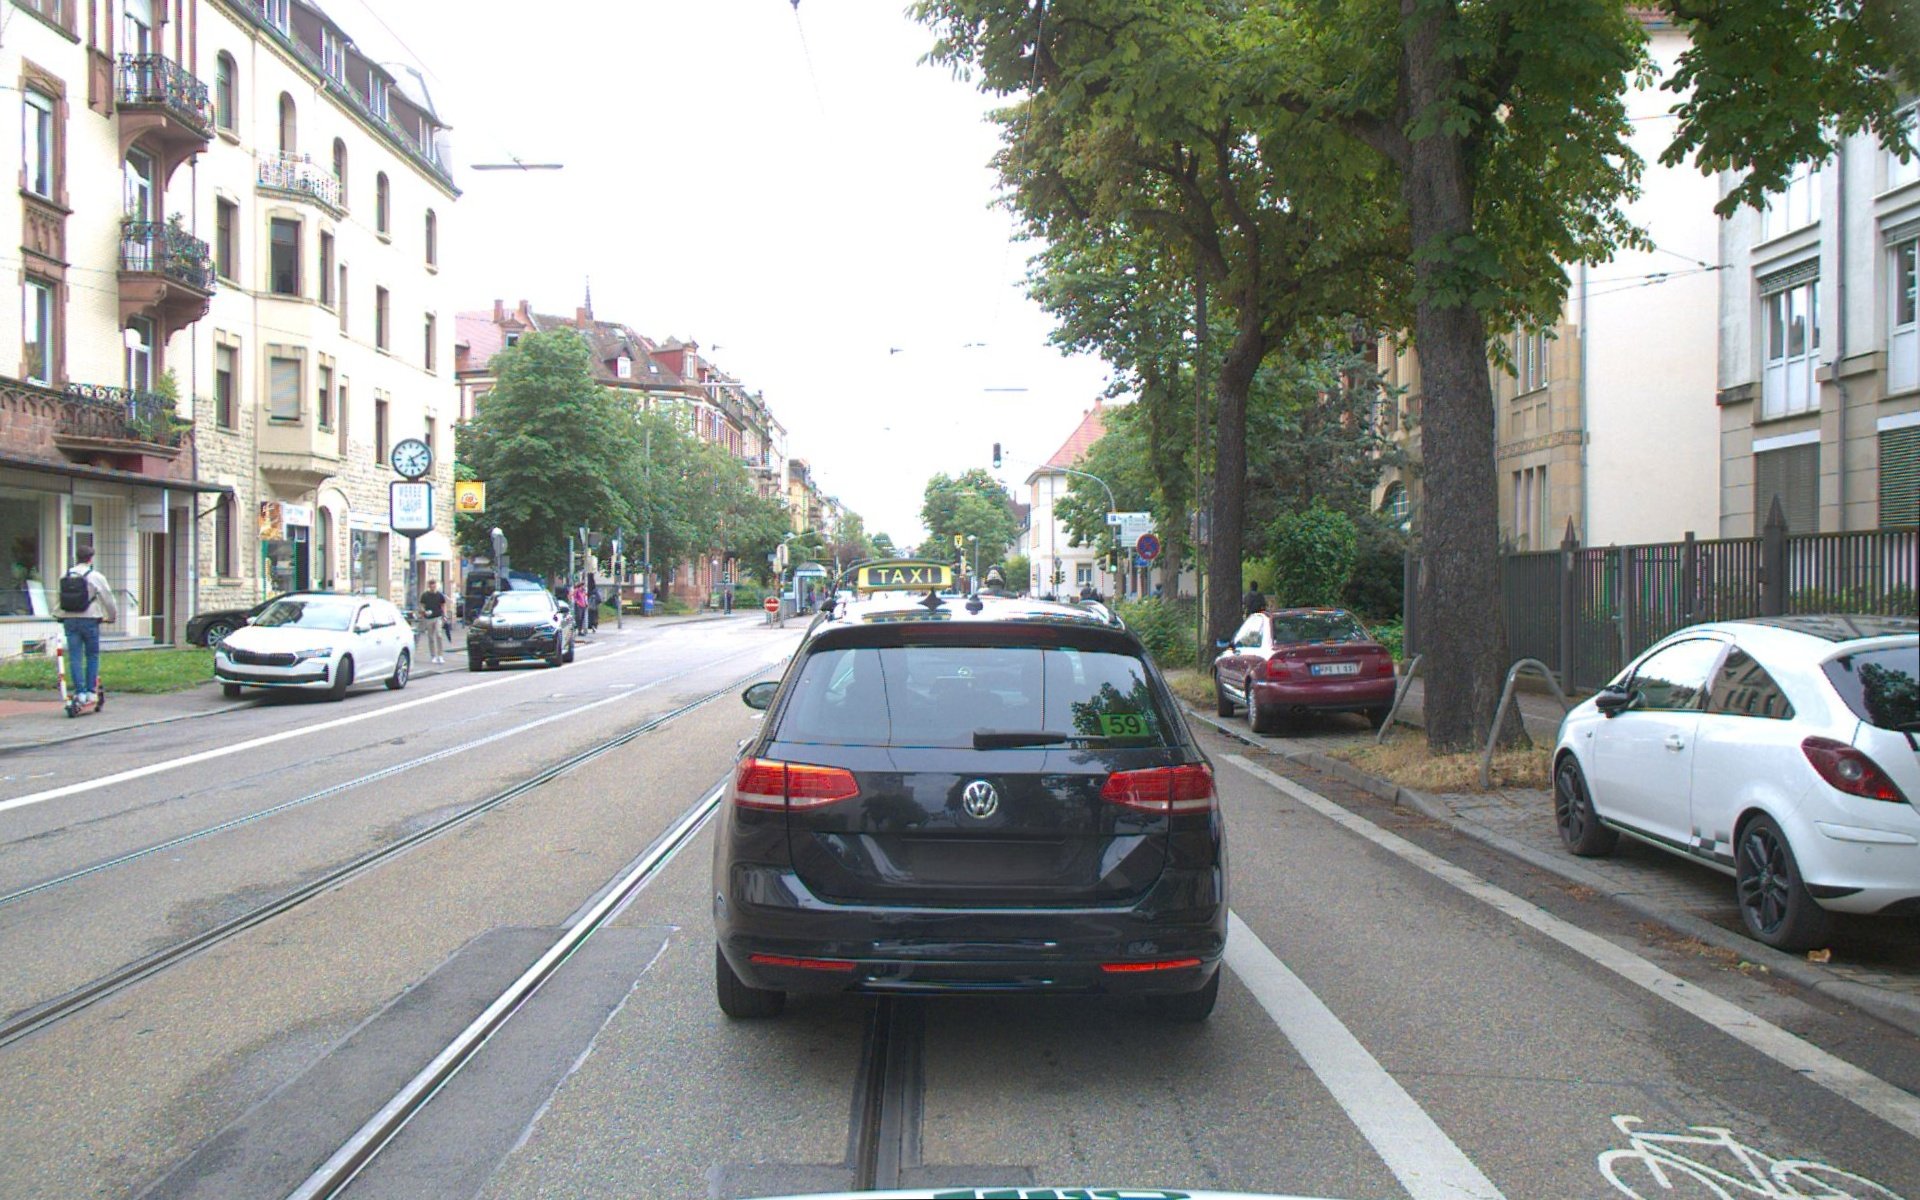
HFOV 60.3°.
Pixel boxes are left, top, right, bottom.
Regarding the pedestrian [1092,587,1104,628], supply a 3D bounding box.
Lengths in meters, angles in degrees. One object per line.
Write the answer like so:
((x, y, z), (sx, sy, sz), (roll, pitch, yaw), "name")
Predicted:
((5.469, 0.288, 65.377), (0.441, 1.589, 0.479), (0, 0, 7), "pedestrian")

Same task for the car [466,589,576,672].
((-9.766, 0.642, 37.092), (1.849, 1.639, 4.876), (-3, 0, -9), "car")

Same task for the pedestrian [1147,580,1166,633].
((7.034, 0.228, 59.272), (0.503, 1.863, 0.418), (-3, 0, 15), "pedestrian")

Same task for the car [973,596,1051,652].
((1.459, 0.614, 44.764), (1.852, 1.432, 4.003), (-1, 0, 5), "car")

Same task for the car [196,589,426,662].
((-14.369, 0.555, 36.832), (4.340, 1.394, 1.878), (2, 0, -6), "car")

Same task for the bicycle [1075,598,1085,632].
((4.577, 0.568, 63.047), (0.291, 1.244, 1.431), (0, 0, 6), "bicycle")

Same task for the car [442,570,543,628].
((-20.689, -0.045, 73.108), (2.168, 2.460, 5.295), (0, 0, -43), "car")

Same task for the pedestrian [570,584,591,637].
((-13.401, 0.374, 58.441), (0.610, 1.875, 0.609), (0, 0, -3), "pedestrian")

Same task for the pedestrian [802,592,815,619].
((-8.697, 0.318, 95.158), (0.699, 1.547, 0.590), (0, 0, 1), "pedestrian")

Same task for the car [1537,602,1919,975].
((4.518, 0.783, 8.746), (1.569, 1.460, 3.776), (-2, 0, 0), "car")

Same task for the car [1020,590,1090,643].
((3.017, 0.518, 53.439), (1.953, 1.605, 3.999), (1, 0, -1), "car")

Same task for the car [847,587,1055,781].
((-0.099, 0.676, 15.525), (1.688, 1.573, 3.999), (0, 0, -1), "car")

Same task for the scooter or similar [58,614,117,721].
((-10.658, 0.811, 20.219), (0.226, 1.256, 0.953), (0, 0, -1), "scooter or similar")

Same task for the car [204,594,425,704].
((-9.797, 0.672, 25.487), (1.712, 1.510, 4.607), (0, 0, -2), "car")

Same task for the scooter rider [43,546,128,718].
((-10.676, 0.381, 20.208), (0.629, 2.049, 0.757), (0, 0, -1), "scooter rider")

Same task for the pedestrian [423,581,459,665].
((-11.822, 0.509, 37.721), (0.656, 1.876, 0.880), (-1, 0, -11), "pedestrian")

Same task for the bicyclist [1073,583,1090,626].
((4.640, 0.170, 63.101), (0.637, 1.596, 0.696), (0, 0, 6), "bicyclist")

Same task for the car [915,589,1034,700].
((0.175, 0.624, 25.562), (1.688, 1.573, 3.999), (0, 0, -1), "car")

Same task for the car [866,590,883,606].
((-8.936, -0.245, 173.570), (1.686, 1.651, 3.862), (-1, 0, -1), "car")

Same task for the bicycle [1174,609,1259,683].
((4.387, 0.777, 28.195), (0.426, 1.219, 1.891), (0, -1, 44), "bicycle")

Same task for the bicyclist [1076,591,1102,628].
((4.658, 0.338, 59.603), (0.641, 1.324, 0.692), (0, 0, 40), "bicyclist")

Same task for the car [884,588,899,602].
((-8.497, -0.652, 204.950), (1.686, 1.651, 3.862), (0, 0, -1), "car")

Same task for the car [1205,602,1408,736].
((4.224, 0.783, 20.796), (1.569, 1.423, 4.226), (-2, 0, -1), "car")

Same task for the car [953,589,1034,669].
((0.672, 0.584, 35.065), (1.574, 1.583, 3.577), (1, 0, -1), "car")

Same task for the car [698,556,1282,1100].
((0.062, 0.651, 6.801), (1.688, 1.573, 3.999), (0, 0, -1), "car")

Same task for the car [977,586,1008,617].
((2.228, 0.112, 114.129), (1.991, 2.049, 3.999), (1, 0, -1), "car")

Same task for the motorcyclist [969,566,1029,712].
((0.463, 0.455, 19.956), (0.688, 1.722, 0.804), (0, 0, -1), "motorcyclist")

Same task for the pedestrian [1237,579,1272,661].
((6.750, 0.452, 37.933), (0.619, 1.846, 0.726), (0, 0, -3), "pedestrian")

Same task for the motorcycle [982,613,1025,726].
((0.506, 0.802, 19.844), (0.437, 1.257, 1.906), (0, 0, -1), "motorcycle")

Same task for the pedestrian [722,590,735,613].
((-15.536, 0.102, 110.965), (0.577, 1.547, 0.647), (0, 0, 34), "pedestrian")

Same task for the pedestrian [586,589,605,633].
((-13.969, 0.417, 63.416), (0.577, 1.692, 0.838), (0, 0, -4), "pedestrian")

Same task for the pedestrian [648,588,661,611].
((-20.249, -0.030, 109.550), (0.577, 1.547, 0.647), (0, 0, 34), "pedestrian")

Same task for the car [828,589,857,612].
((-9.512, 0.074, 134.293), (1.952, 1.822, 4.000), (1, 0, 1), "car")

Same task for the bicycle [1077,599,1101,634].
((4.648, 0.594, 59.649), (0.248, 1.217, 1.151), (0, 0, 39), "bicycle")
